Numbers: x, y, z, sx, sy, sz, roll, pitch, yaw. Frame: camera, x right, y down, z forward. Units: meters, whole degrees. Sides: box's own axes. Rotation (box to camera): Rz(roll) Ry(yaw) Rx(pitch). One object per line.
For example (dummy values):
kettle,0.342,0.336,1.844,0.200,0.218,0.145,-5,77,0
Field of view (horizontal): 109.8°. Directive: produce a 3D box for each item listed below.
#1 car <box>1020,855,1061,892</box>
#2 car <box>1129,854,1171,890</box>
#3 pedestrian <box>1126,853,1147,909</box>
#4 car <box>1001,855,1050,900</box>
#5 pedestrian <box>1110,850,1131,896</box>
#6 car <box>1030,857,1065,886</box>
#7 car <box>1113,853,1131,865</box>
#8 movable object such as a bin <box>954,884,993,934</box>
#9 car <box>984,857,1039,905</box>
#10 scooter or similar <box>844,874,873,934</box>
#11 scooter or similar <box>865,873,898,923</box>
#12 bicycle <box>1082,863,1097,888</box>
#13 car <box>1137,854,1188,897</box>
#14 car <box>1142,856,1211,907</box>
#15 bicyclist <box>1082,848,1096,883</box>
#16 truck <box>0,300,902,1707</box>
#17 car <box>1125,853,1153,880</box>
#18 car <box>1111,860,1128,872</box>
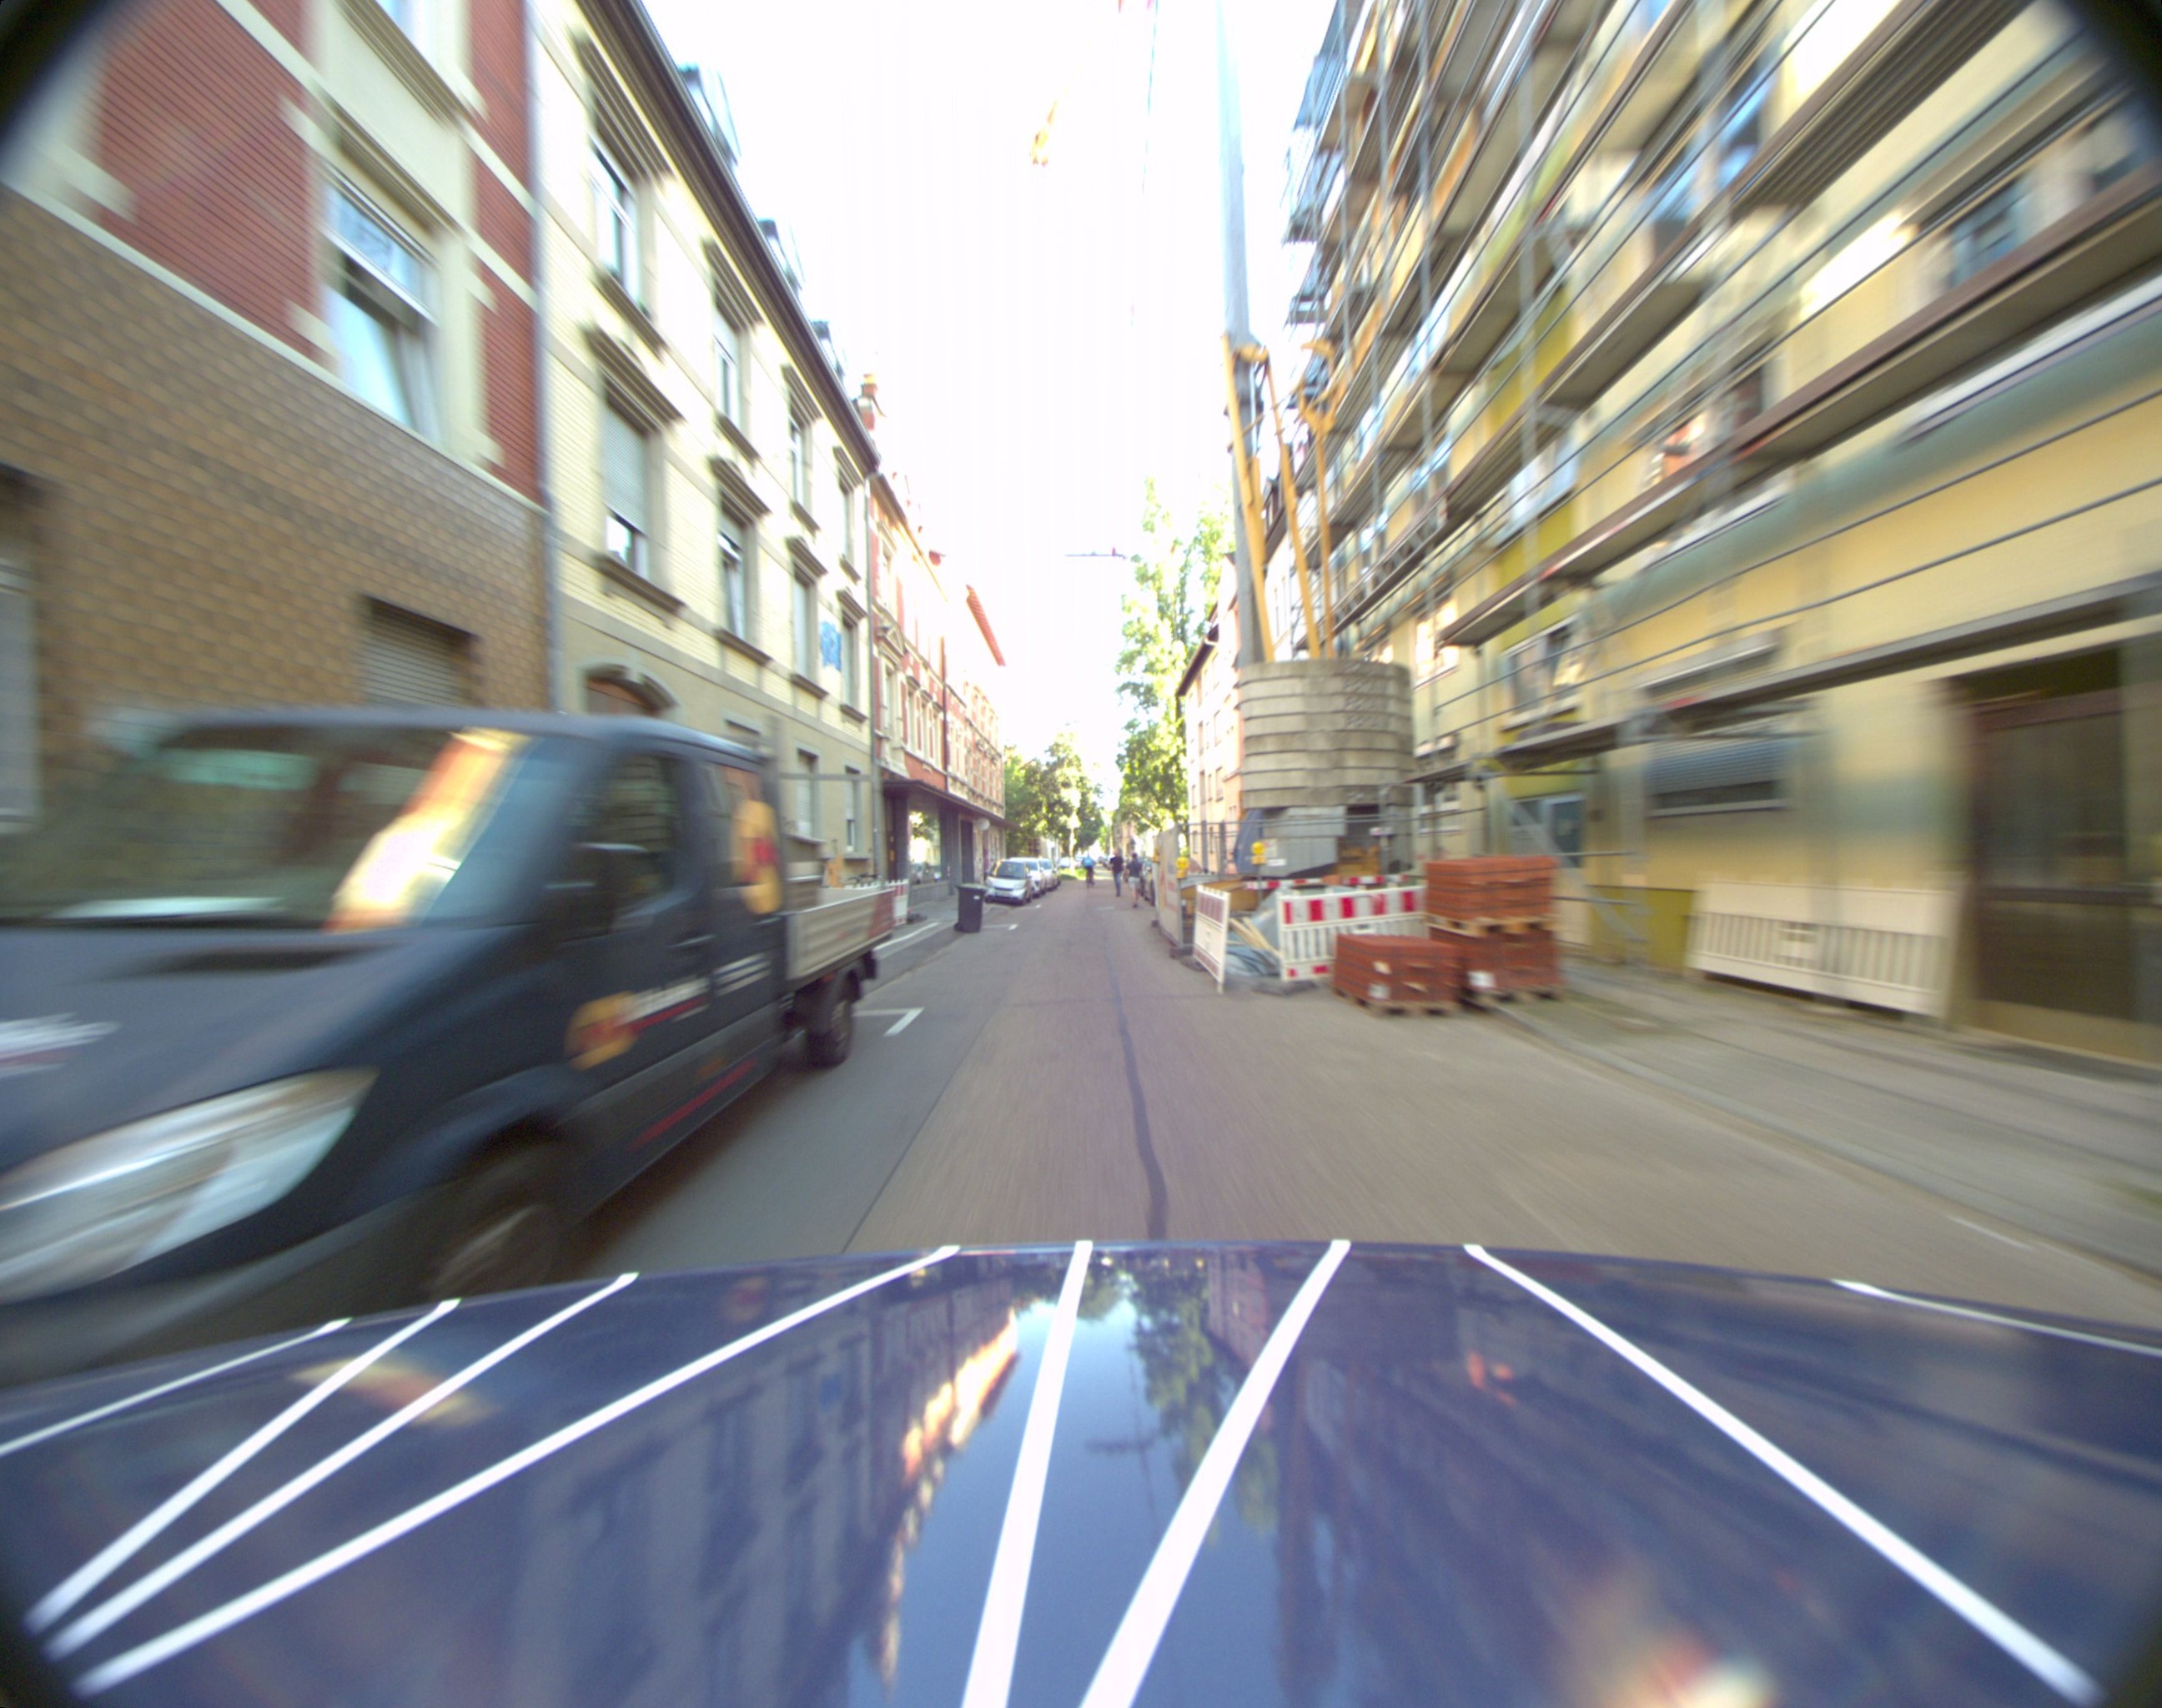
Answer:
car,-1.940,0.933,37.479,1.603,1.626,3.775,-4,0,1
car,3.151,0.798,35.408,1.646,1.565,4.249,-1,0,1
pedestrian,1.665,0.799,22.849,0.594,1.634,0.813,0,1,1
car,-2.275,0.930,31.980,1.603,1.652,4.060,-4,0,1
pedestrian,1.520,0.721,29.369,0.740,1.743,0.997,-1,1,2
car,-1.873,0.973,43.871,1.646,1.442,4.166,-3,0,1
car,5.298,0.577,98.246,2.168,1.508,5.376,-1,0,1
movable object such as a bin,-2.406,1.223,17.028,0.742,1.051,0.687,-1,1,1
car,-2.458,0.917,27.632,1.525,1.525,3.463,4,0,1
scooter or similar,-4.880,1.065,16.711,0.456,1.202,1.442,2,0,-11
scooter or similar,-5.001,1.084,19.077,0.389,1.137,1.444,2,0,1
bicycle,0.408,1.032,37.235,0.688,1.151,1.846,0,1,-1
car,3.203,0.820,30.535,1.646,1.483,4.000,-4,0,1
car,3.094,0.839,25.507,1.771,1.500,4.696,2,0,1
bicyclist,0.397,0.563,37.227,0.666,1.668,0.892,0,1,-1
truck,-2.795,0.451,4.223,2.154,2.642,6.252,3,0,-1
car,3.439,0.723,45.608,1.464,1.512,3.661,-1,0,1
car,4.346,1.305,85.933,1.759,1.293,4.249,-1,0,1
